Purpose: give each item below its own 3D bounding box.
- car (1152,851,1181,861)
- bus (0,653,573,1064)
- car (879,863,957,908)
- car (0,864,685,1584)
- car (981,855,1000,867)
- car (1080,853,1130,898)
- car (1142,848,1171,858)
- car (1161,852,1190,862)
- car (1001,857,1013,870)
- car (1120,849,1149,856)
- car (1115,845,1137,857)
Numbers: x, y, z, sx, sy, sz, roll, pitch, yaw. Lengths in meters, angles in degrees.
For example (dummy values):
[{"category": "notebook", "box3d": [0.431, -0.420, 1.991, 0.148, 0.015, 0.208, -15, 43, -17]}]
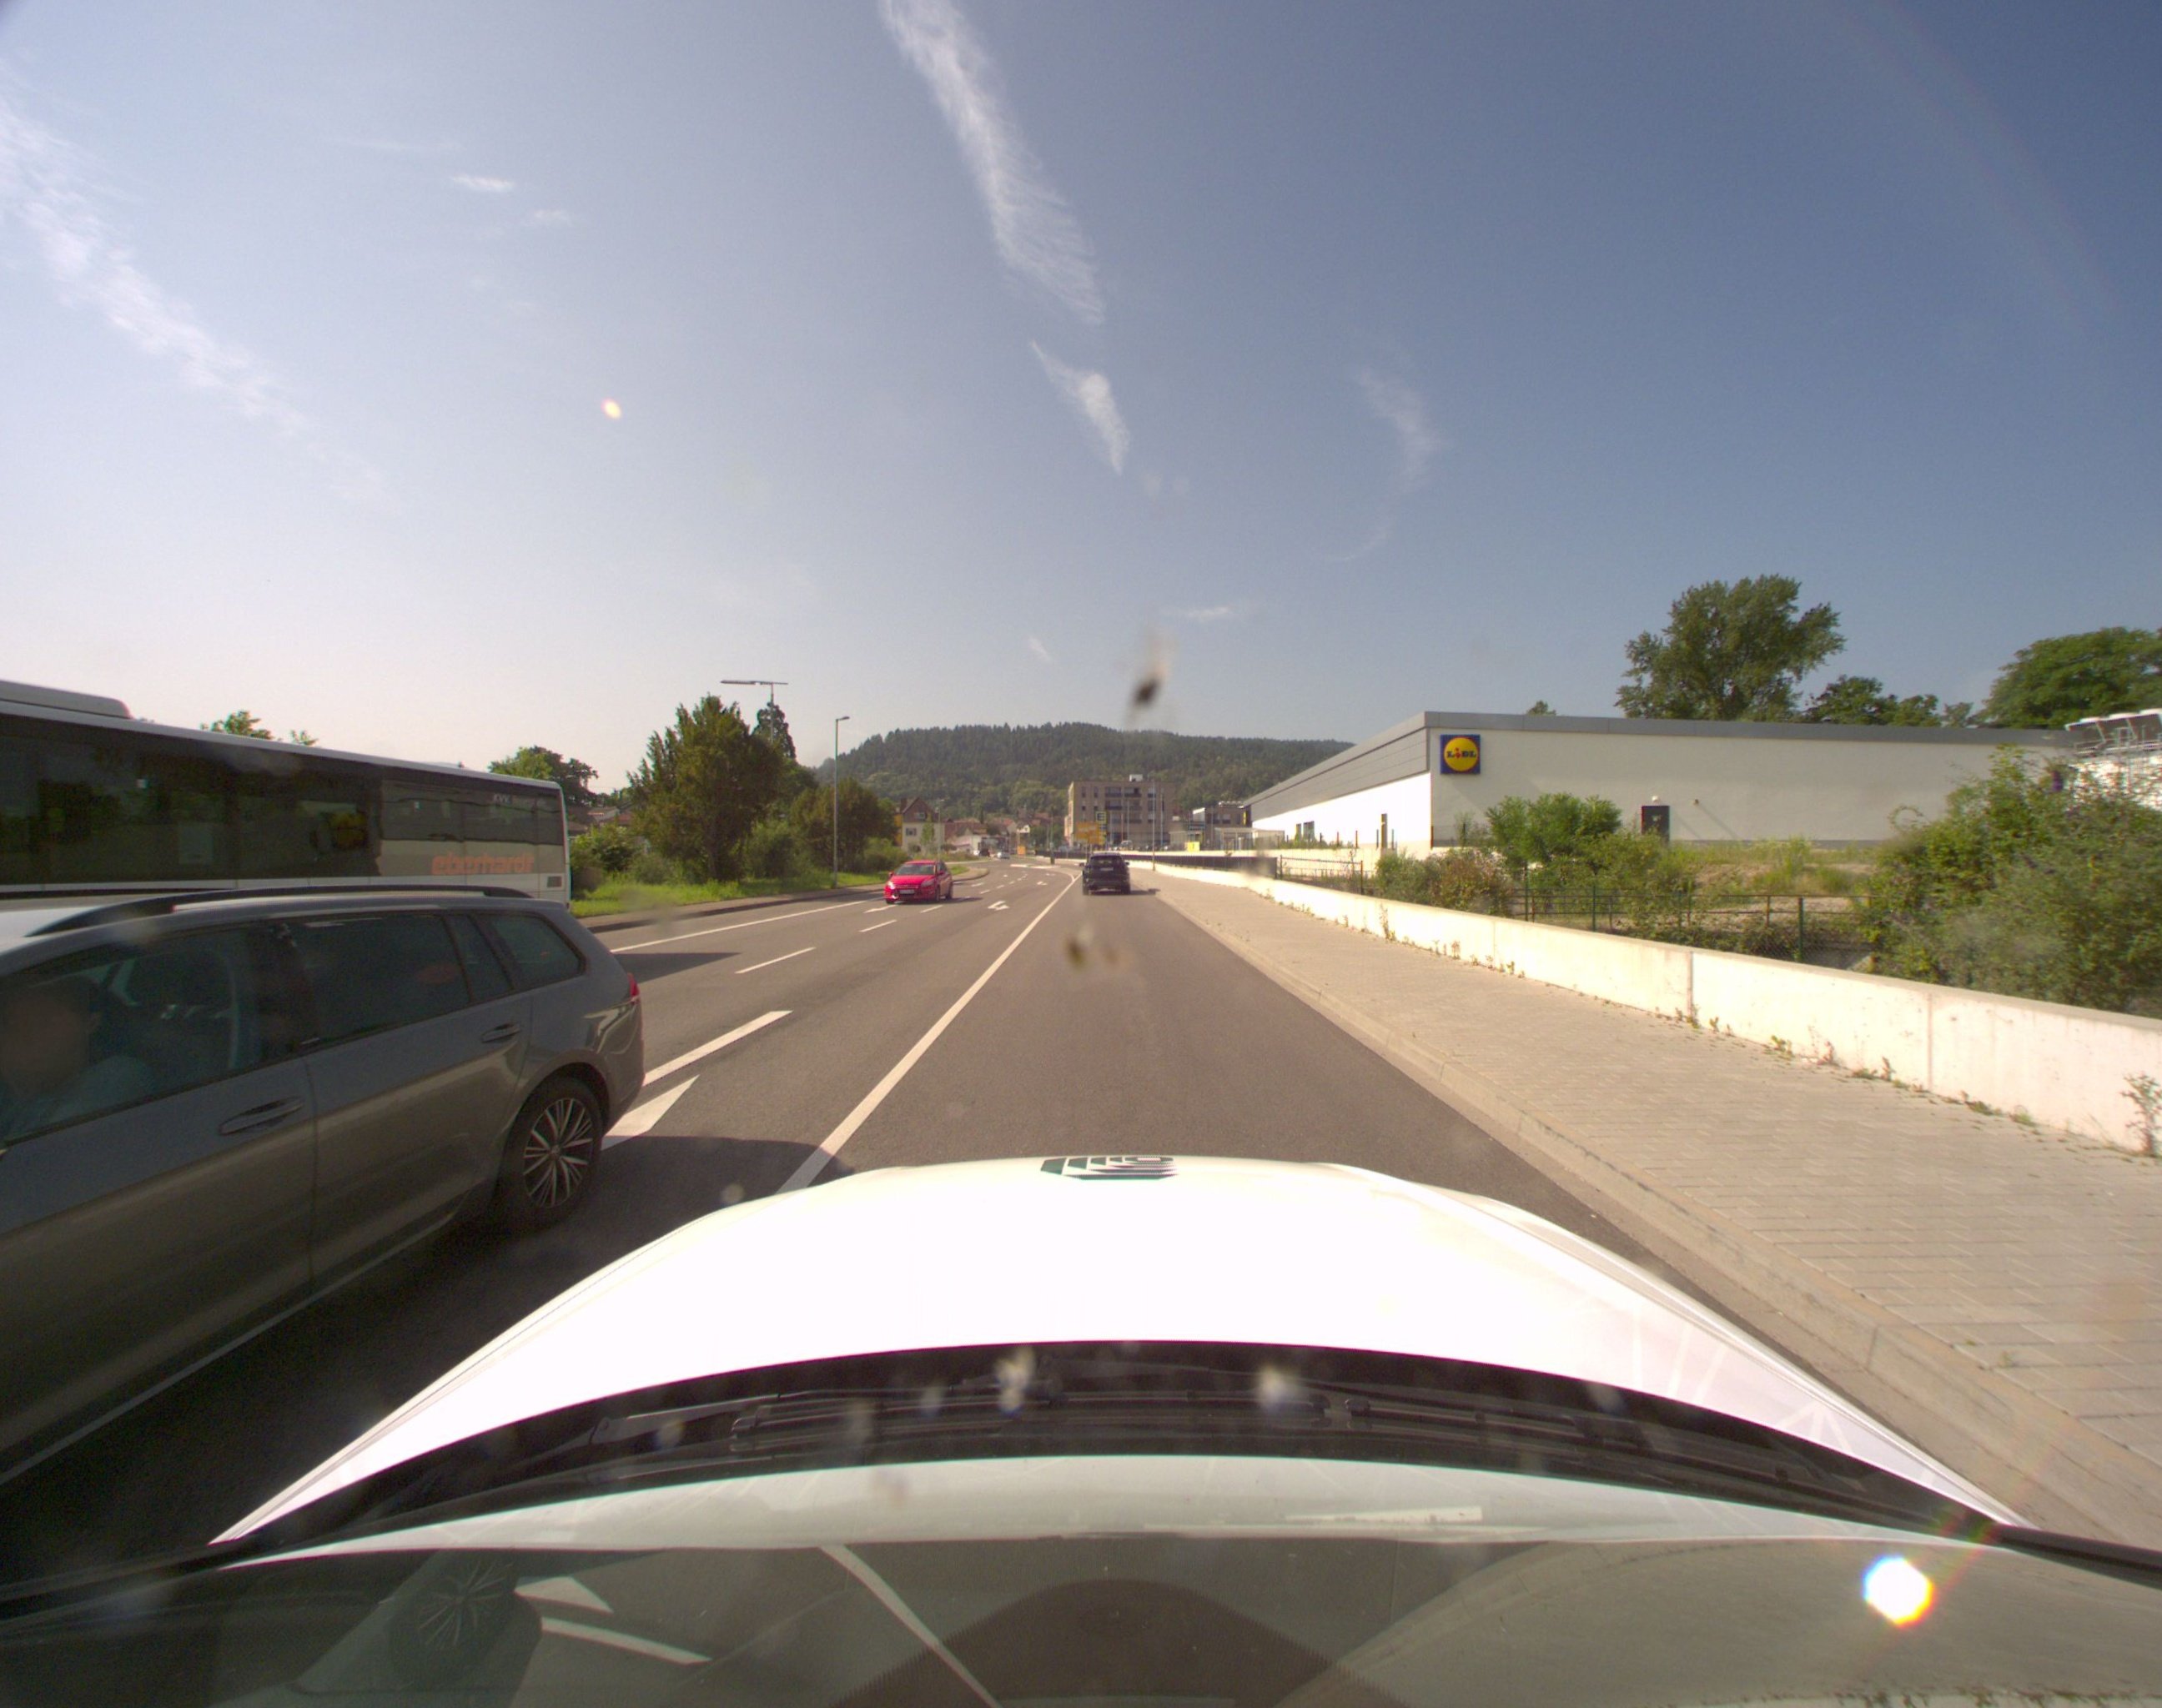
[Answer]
[{"category": "car", "box3d": [12.412, 0.325, 118.261, 4.072, 1.404, 1.477, 0, 0, -18]}, {"category": "bus", "box3d": [-9.990, 0.065, 7.813, 2.611, 3.310, 11.957, -1, -1, 1]}, {"category": "car", "box3d": [-5.772, 1.078, 29.315, 1.831, 1.492, 4.432, -1, -1, 1]}, {"category": "car", "box3d": [-3.092, 0.781, 2.303, 1.766, 1.473, 4.221, -1, -1, 2]}, {"category": "car", "box3d": [-16.068, 1.287, 144.627, 1.980, 2.014, 4.014, -1, -1, 13]}, {"category": "car", "box3d": [0.996, 0.831, 32.824, 1.873, 1.684, 4.003, -1, -1, 3]}, {"category": "car", "box3d": [11.258, -0.113, 122.022, 4.016, 1.404, 1.715, 0, 0, -18]}, {"category": "car", "box3d": [13.398, 0.402, 115.205, 3.815, 1.364, 1.671, 0, 0, -18]}, {"category": "car", "box3d": [-12.010, 1.572, 132.181, 1.990, 2.014, 3.993, -1, -1, -5]}, {"category": "car", "box3d": [8.566, -0.233, 130.712, 4.290, 1.245, 1.654, 0, 0, -18]}, {"category": "car", "box3d": [8.461, -0.469, 151.962, 3.969, 2.136, 2.002, -1, -1, 4]}]
